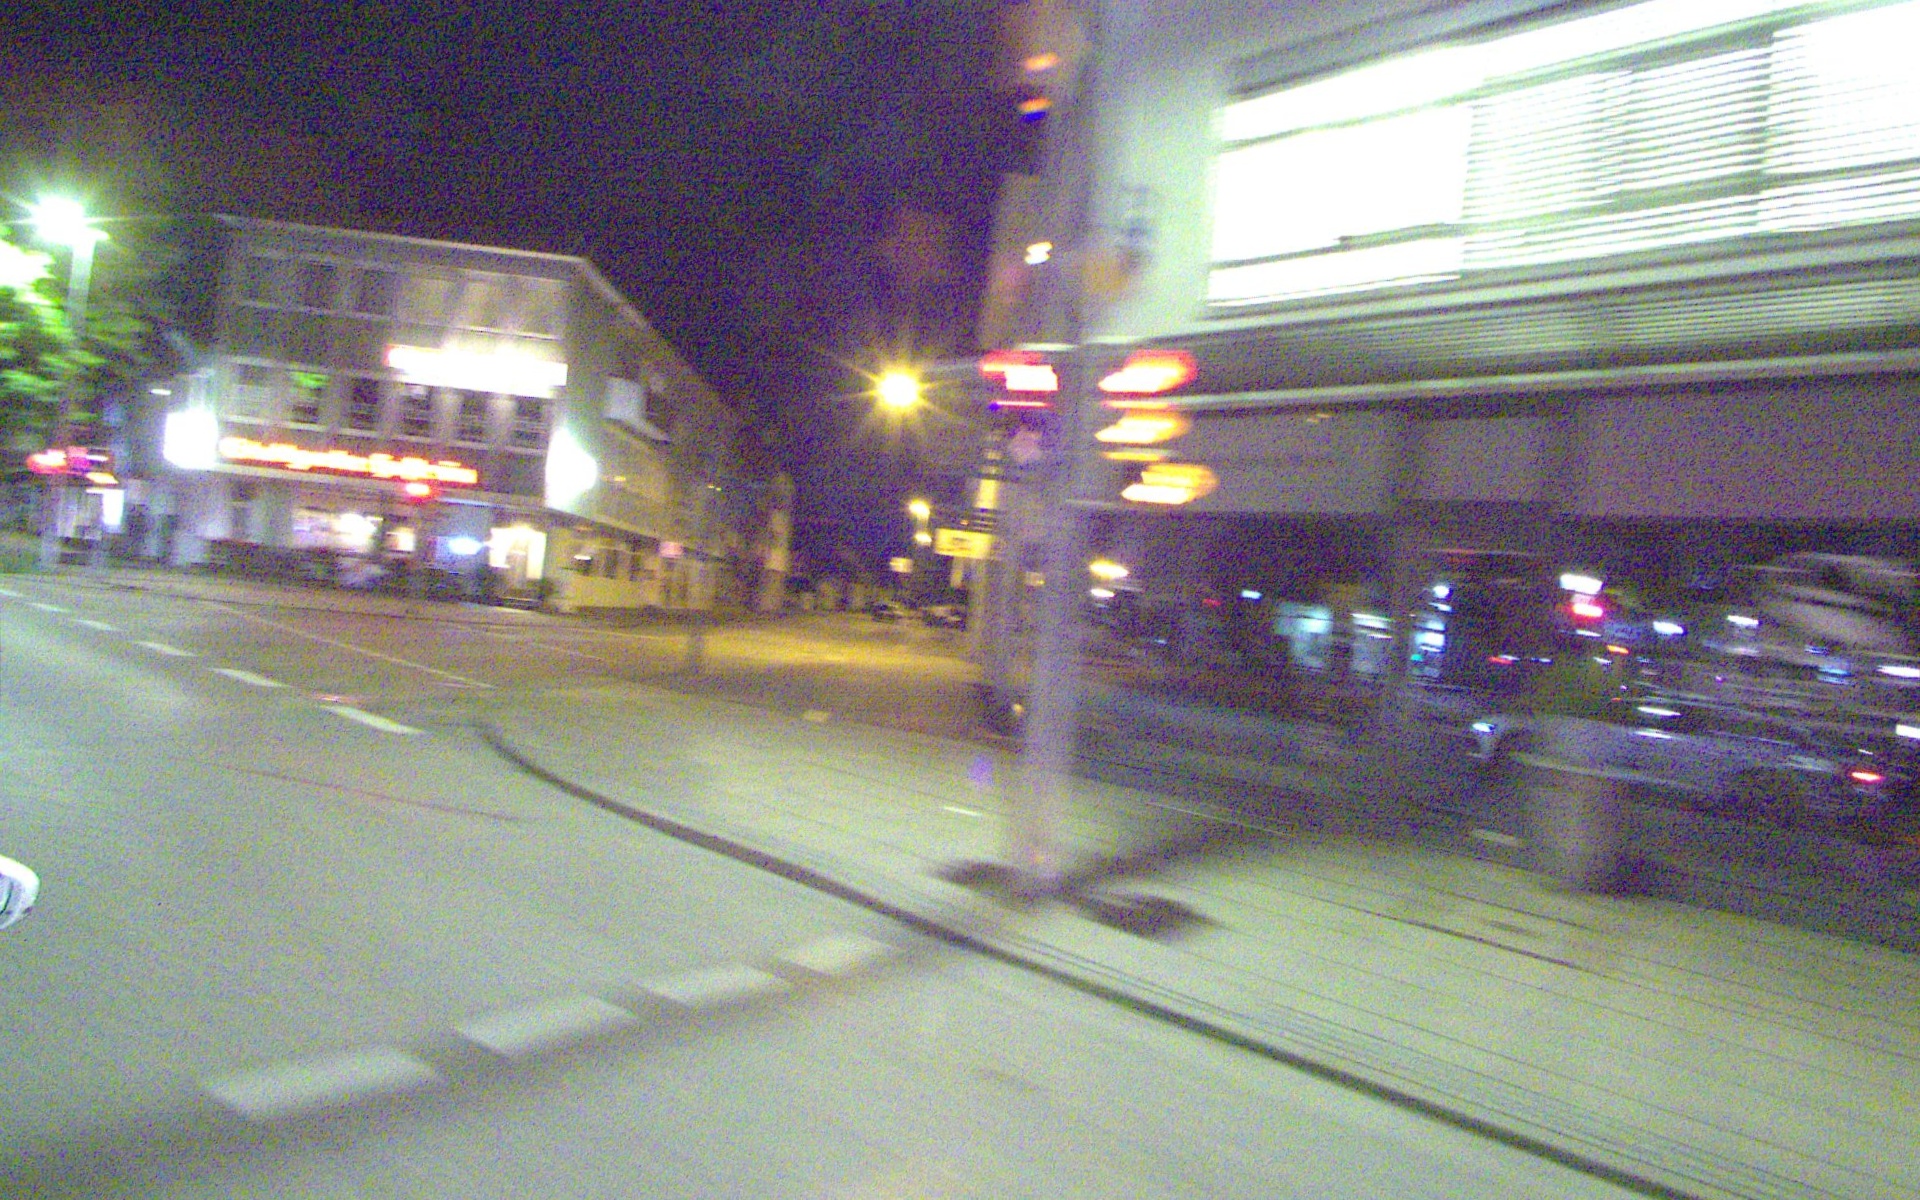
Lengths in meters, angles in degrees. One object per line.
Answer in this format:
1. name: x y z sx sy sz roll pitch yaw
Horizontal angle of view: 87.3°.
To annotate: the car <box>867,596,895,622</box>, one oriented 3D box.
1. car: -6.334 0.728 81.163 1.964 1.770 4.001 7 -2 -3
